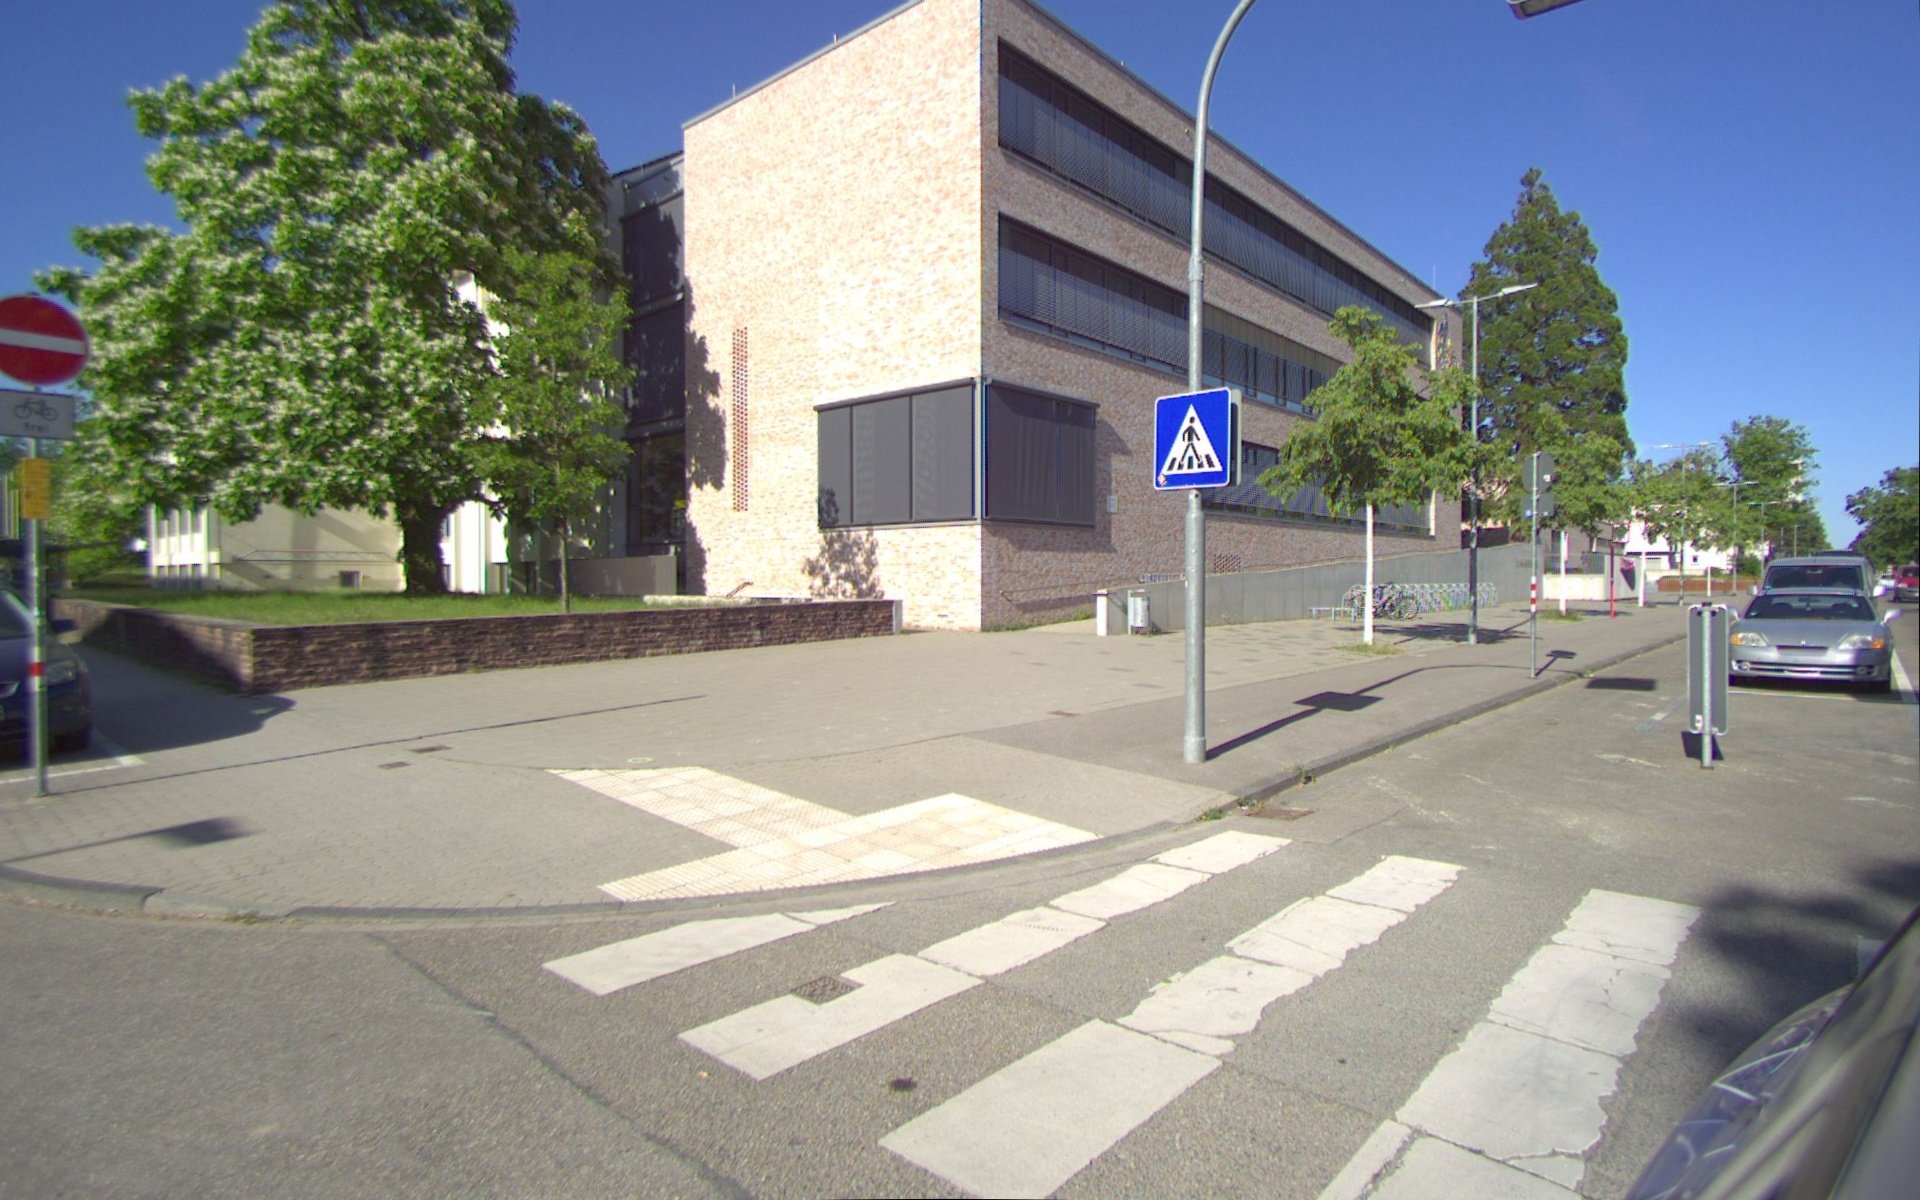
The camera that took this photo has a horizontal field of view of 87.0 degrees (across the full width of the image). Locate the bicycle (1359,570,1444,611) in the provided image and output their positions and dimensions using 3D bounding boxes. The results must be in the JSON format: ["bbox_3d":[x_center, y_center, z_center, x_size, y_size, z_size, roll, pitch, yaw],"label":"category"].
[{"bbox_3d":[12.956,-0.309,29.744,2.079,1.076,0.847,5,4,43],"label":"bicycle"}]

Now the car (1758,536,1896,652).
[{"bbox_3d":[16.495,-0.177,19.173,1.783,1.934,4.555,1,2,43],"label":"car"}]

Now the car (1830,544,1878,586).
[{"bbox_3d":[58.232,-2.297,65.894,2.190,2.630,5.951,1,2,43],"label":"car"}]

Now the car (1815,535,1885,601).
[{"bbox_3d":[38.493,-1.390,43.700,2.069,2.630,6.107,1,2,43],"label":"car"}]

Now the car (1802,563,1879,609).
[{"bbox_3d":[29.582,-0.508,33.969,1.820,1.438,3.977,1,2,43],"label":"car"}]

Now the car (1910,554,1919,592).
[{"bbox_3d":[50.206,-1.422,51.890,4.663,1.901,2.018,-2,2,-44],"label":"car"}]

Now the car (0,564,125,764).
[{"bbox_3d":[-9.084,0.466,8.928,4.541,1.492,1.880,1,3,41],"label":"car"}]

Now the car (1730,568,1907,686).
[{"bbox_3d":[12.066,0.243,14.107,1.648,1.348,4.858,1,2,43],"label":"car"}]

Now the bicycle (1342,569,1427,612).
[{"bbox_3d":[12.080,-0.284,28.827,2.024,1.076,0.870,5,5,42],"label":"bicycle"}]

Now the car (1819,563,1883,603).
[{"bbox_3d":[33.926,-0.684,38.504,1.710,1.438,3.863,1,2,43],"label":"car"}]
